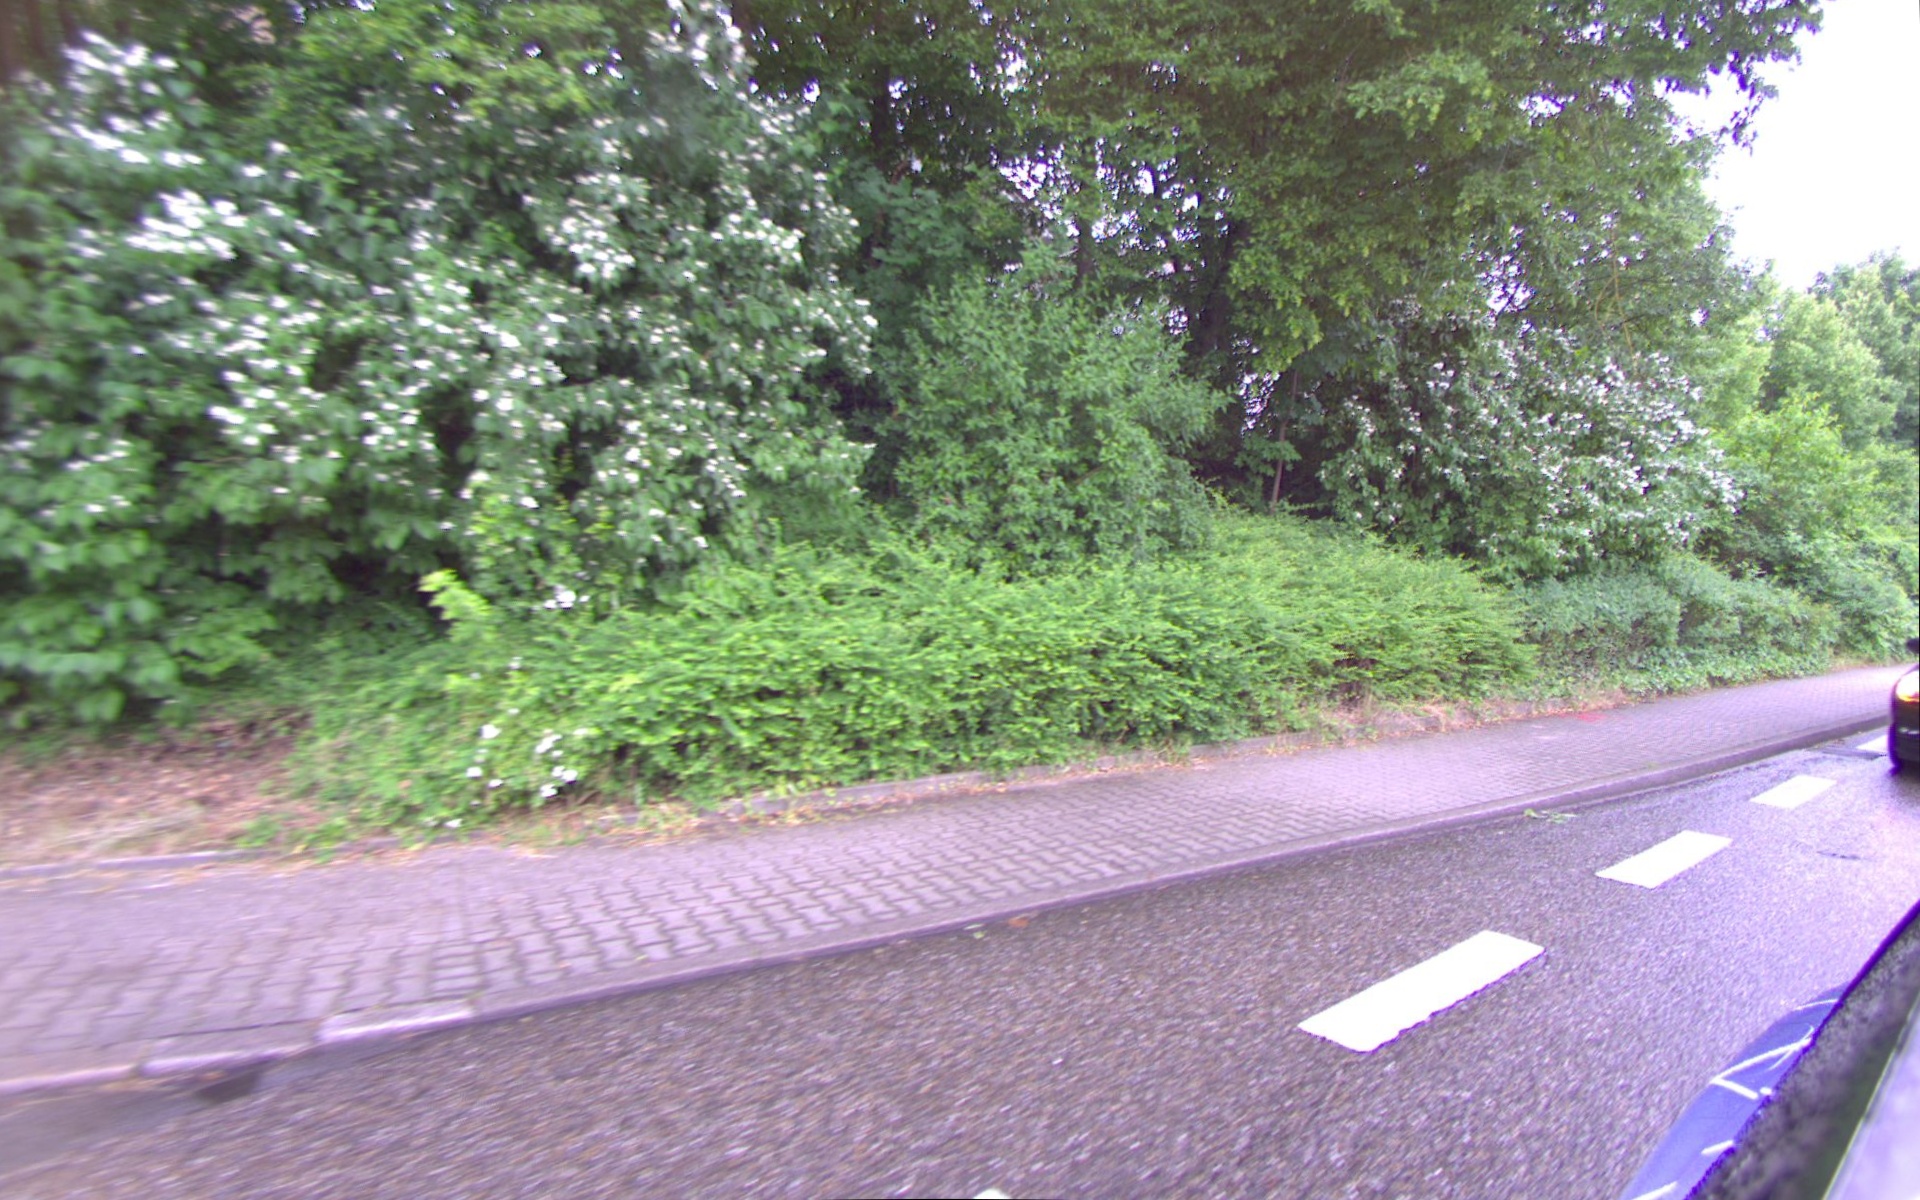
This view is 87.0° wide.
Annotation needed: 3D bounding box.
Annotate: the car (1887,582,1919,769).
[{"bbox_3d":[9.626,0.630,8.521,4.084,1.460,1.819,-1,4,-36],"label":"car"}]
